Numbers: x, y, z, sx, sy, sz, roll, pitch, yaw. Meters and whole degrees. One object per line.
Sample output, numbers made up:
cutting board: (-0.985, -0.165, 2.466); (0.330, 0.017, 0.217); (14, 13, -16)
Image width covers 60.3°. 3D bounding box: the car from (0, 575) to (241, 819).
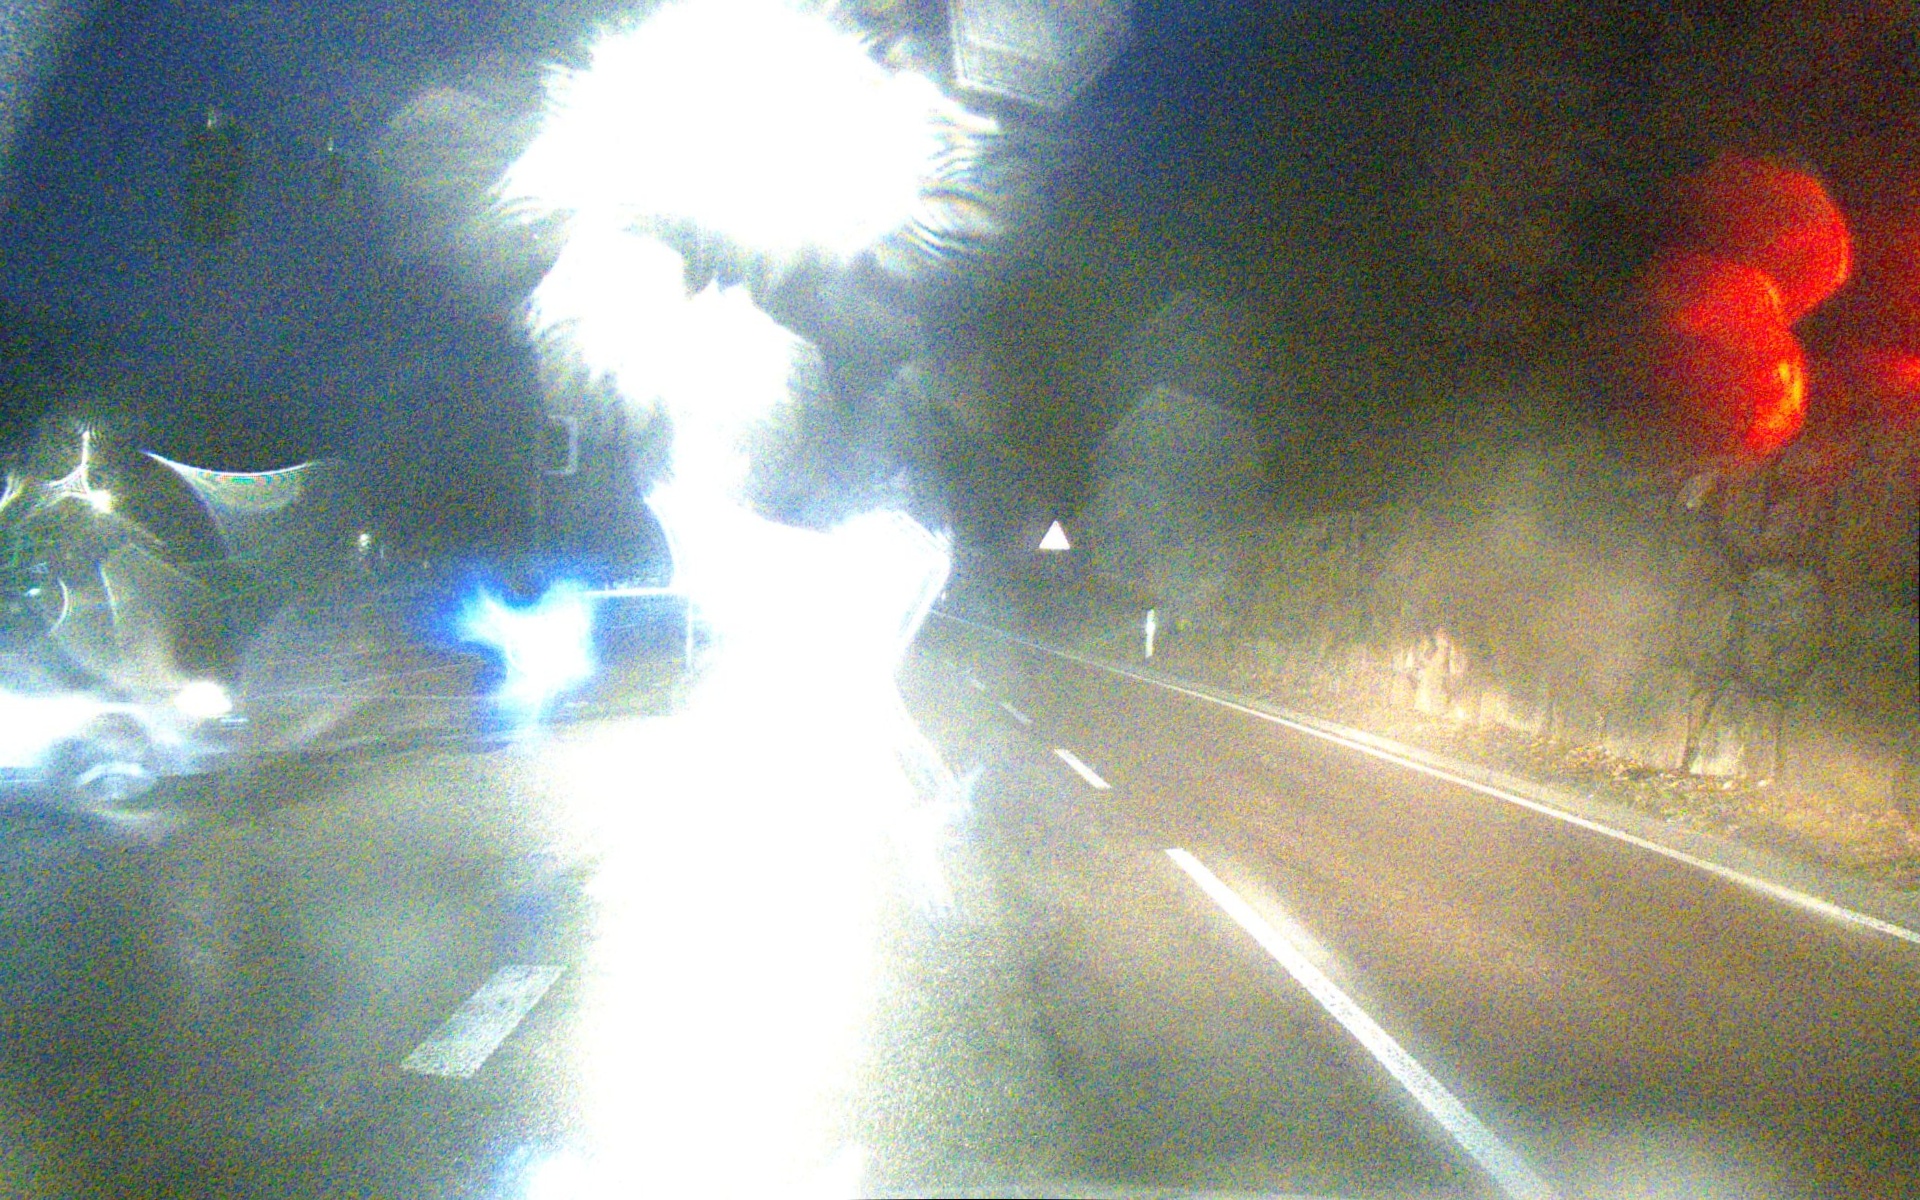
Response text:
car: (-7.077, 0.606, 10.799); (4.309, 1.545, 1.503); (0, 0, -28)
